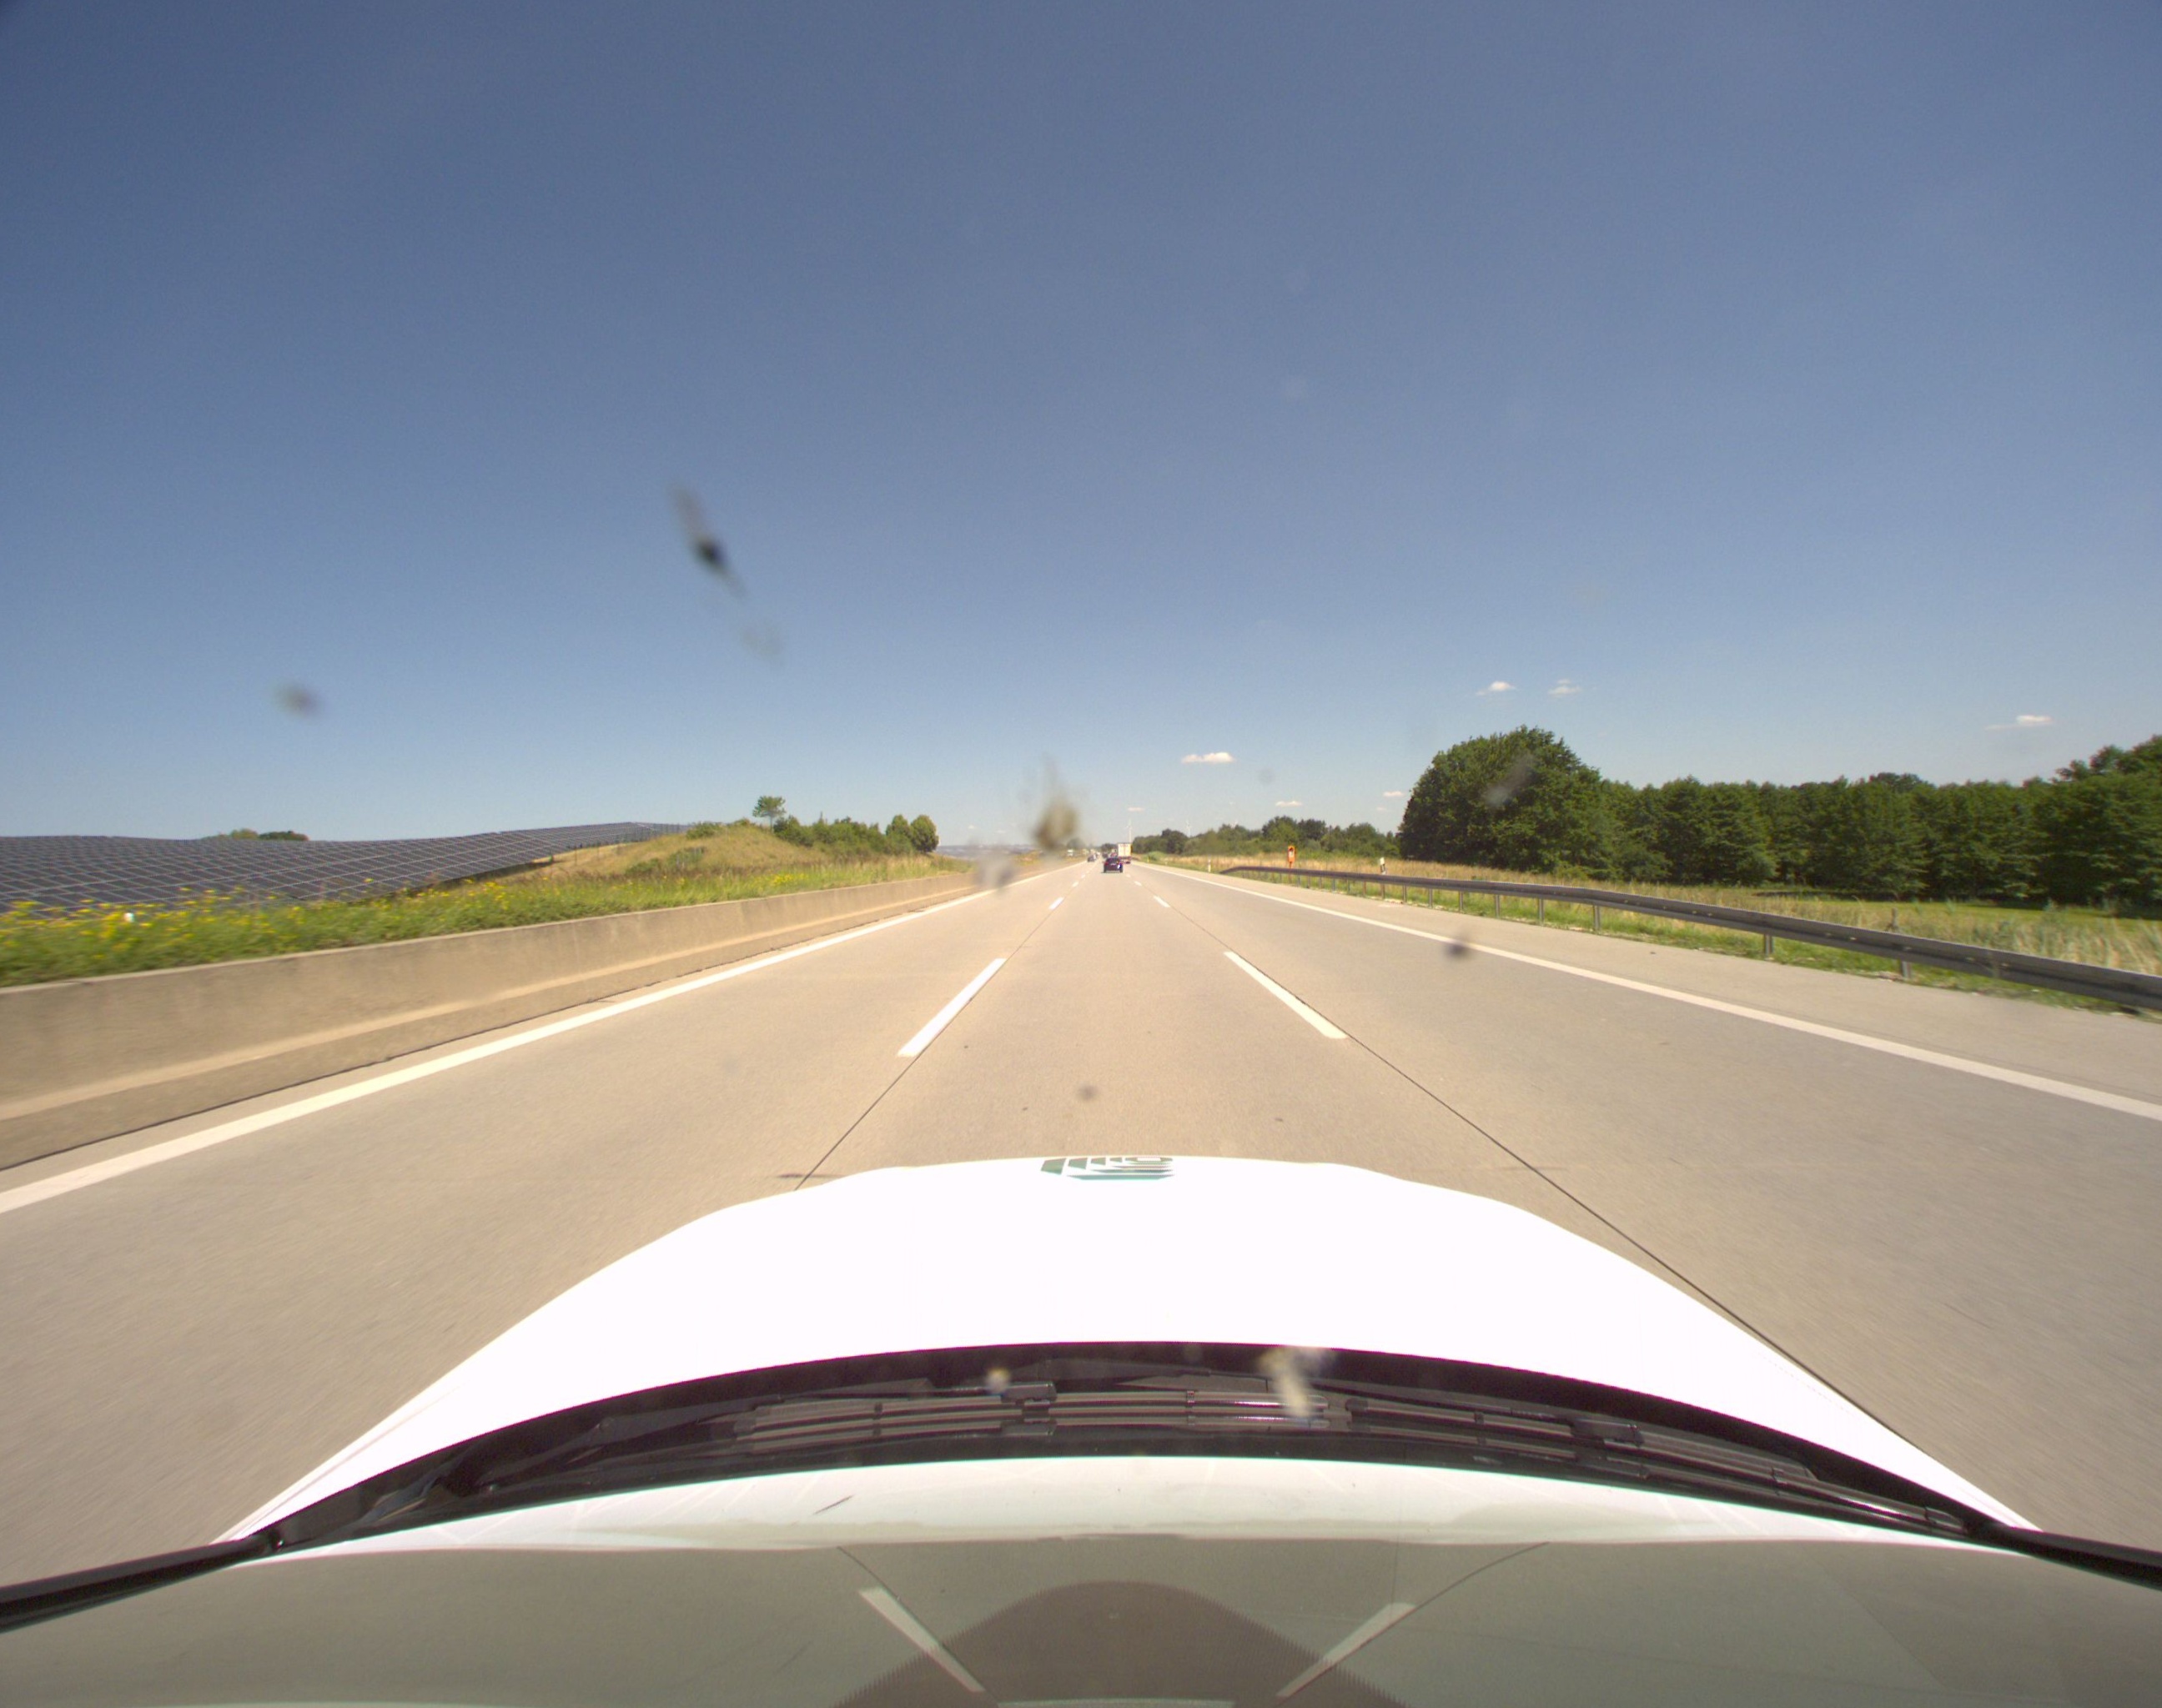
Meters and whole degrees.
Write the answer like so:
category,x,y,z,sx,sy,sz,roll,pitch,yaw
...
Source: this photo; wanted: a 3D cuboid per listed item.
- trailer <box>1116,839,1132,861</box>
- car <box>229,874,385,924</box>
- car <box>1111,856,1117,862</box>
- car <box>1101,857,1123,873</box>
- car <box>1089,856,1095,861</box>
category,x,y,z,sx,sy,sz,roll,pitch,yaw
trailer,8.436,-0.743,161.904,2.842,4.042,12.717,-1,0,1
car,-24.916,1.401,26.397,1.492,1.376,3.629,2,0,1
car,10.292,1.546,254.158,1.818,1.907,4.005,-1,0,5
car,2.879,1.000,76.258,1.903,1.492,4.193,0,0,1
car,2.846,1.193,211.332,1.649,1.196,3.961,2,0,2
